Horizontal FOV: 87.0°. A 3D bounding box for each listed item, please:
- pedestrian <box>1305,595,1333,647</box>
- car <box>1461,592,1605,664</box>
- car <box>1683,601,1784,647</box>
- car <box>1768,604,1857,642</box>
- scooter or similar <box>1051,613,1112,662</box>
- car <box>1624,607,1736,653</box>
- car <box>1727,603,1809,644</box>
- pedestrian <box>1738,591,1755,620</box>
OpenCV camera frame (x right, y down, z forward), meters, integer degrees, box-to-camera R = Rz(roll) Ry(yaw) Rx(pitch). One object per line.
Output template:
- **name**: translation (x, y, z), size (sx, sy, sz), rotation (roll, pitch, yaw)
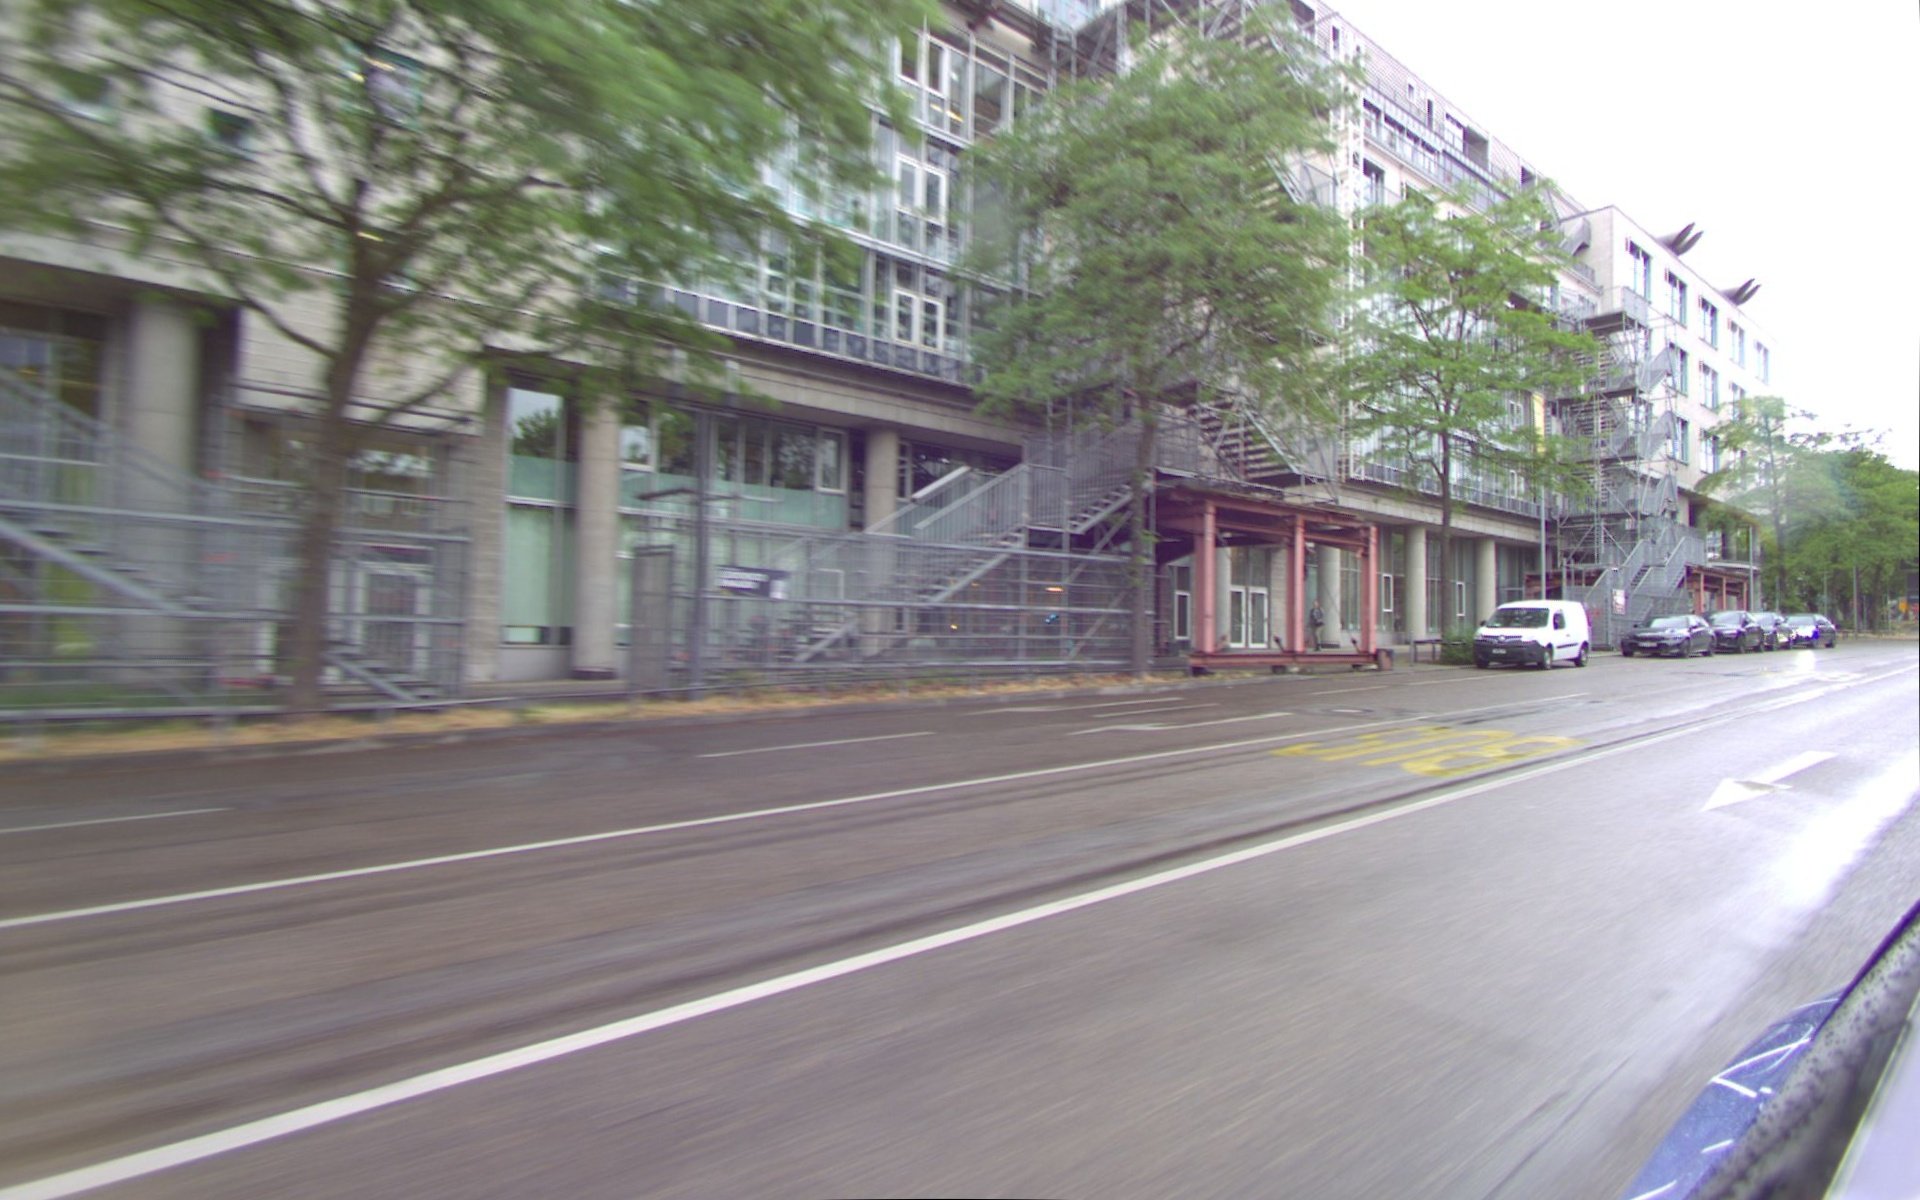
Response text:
- **pedestrian**: translation (12.307, 0.720, 34.675), size (0.641, 1.764, 0.677), rotation (1, -1, -38)
- **car**: translation (15.437, 0.706, 27.161), size (4.447, 1.772, 1.997), rotation (1, -1, -41)
- **car**: translation (29.579, 0.881, 38.644), size (4.773, 1.667, 1.998), rotation (1, -1, -39)
- **car**: translation (38.333, 0.999, 45.478), size (5.191, 1.621, 1.999), rotation (1, -1, -38)
- **scooter or similar**: translation (3.018, 0.912, 25.091), size (1.520, 1.176, 0.632), rotation (1, -1, -41)
- **car**: translation (24.474, 0.976, 34.341), size (4.831, 1.456, 1.873), rotation (1, -1, -39)
- **car**: translation (33.610, 0.945, 42.054), size (4.512, 1.621, 1.864), rotation (1, -1, -41)
- **pedestrian**: translation (55.717, 0.389, 71.707), size (0.746, 2.039, 0.869), rotation (1, -2, -45)
